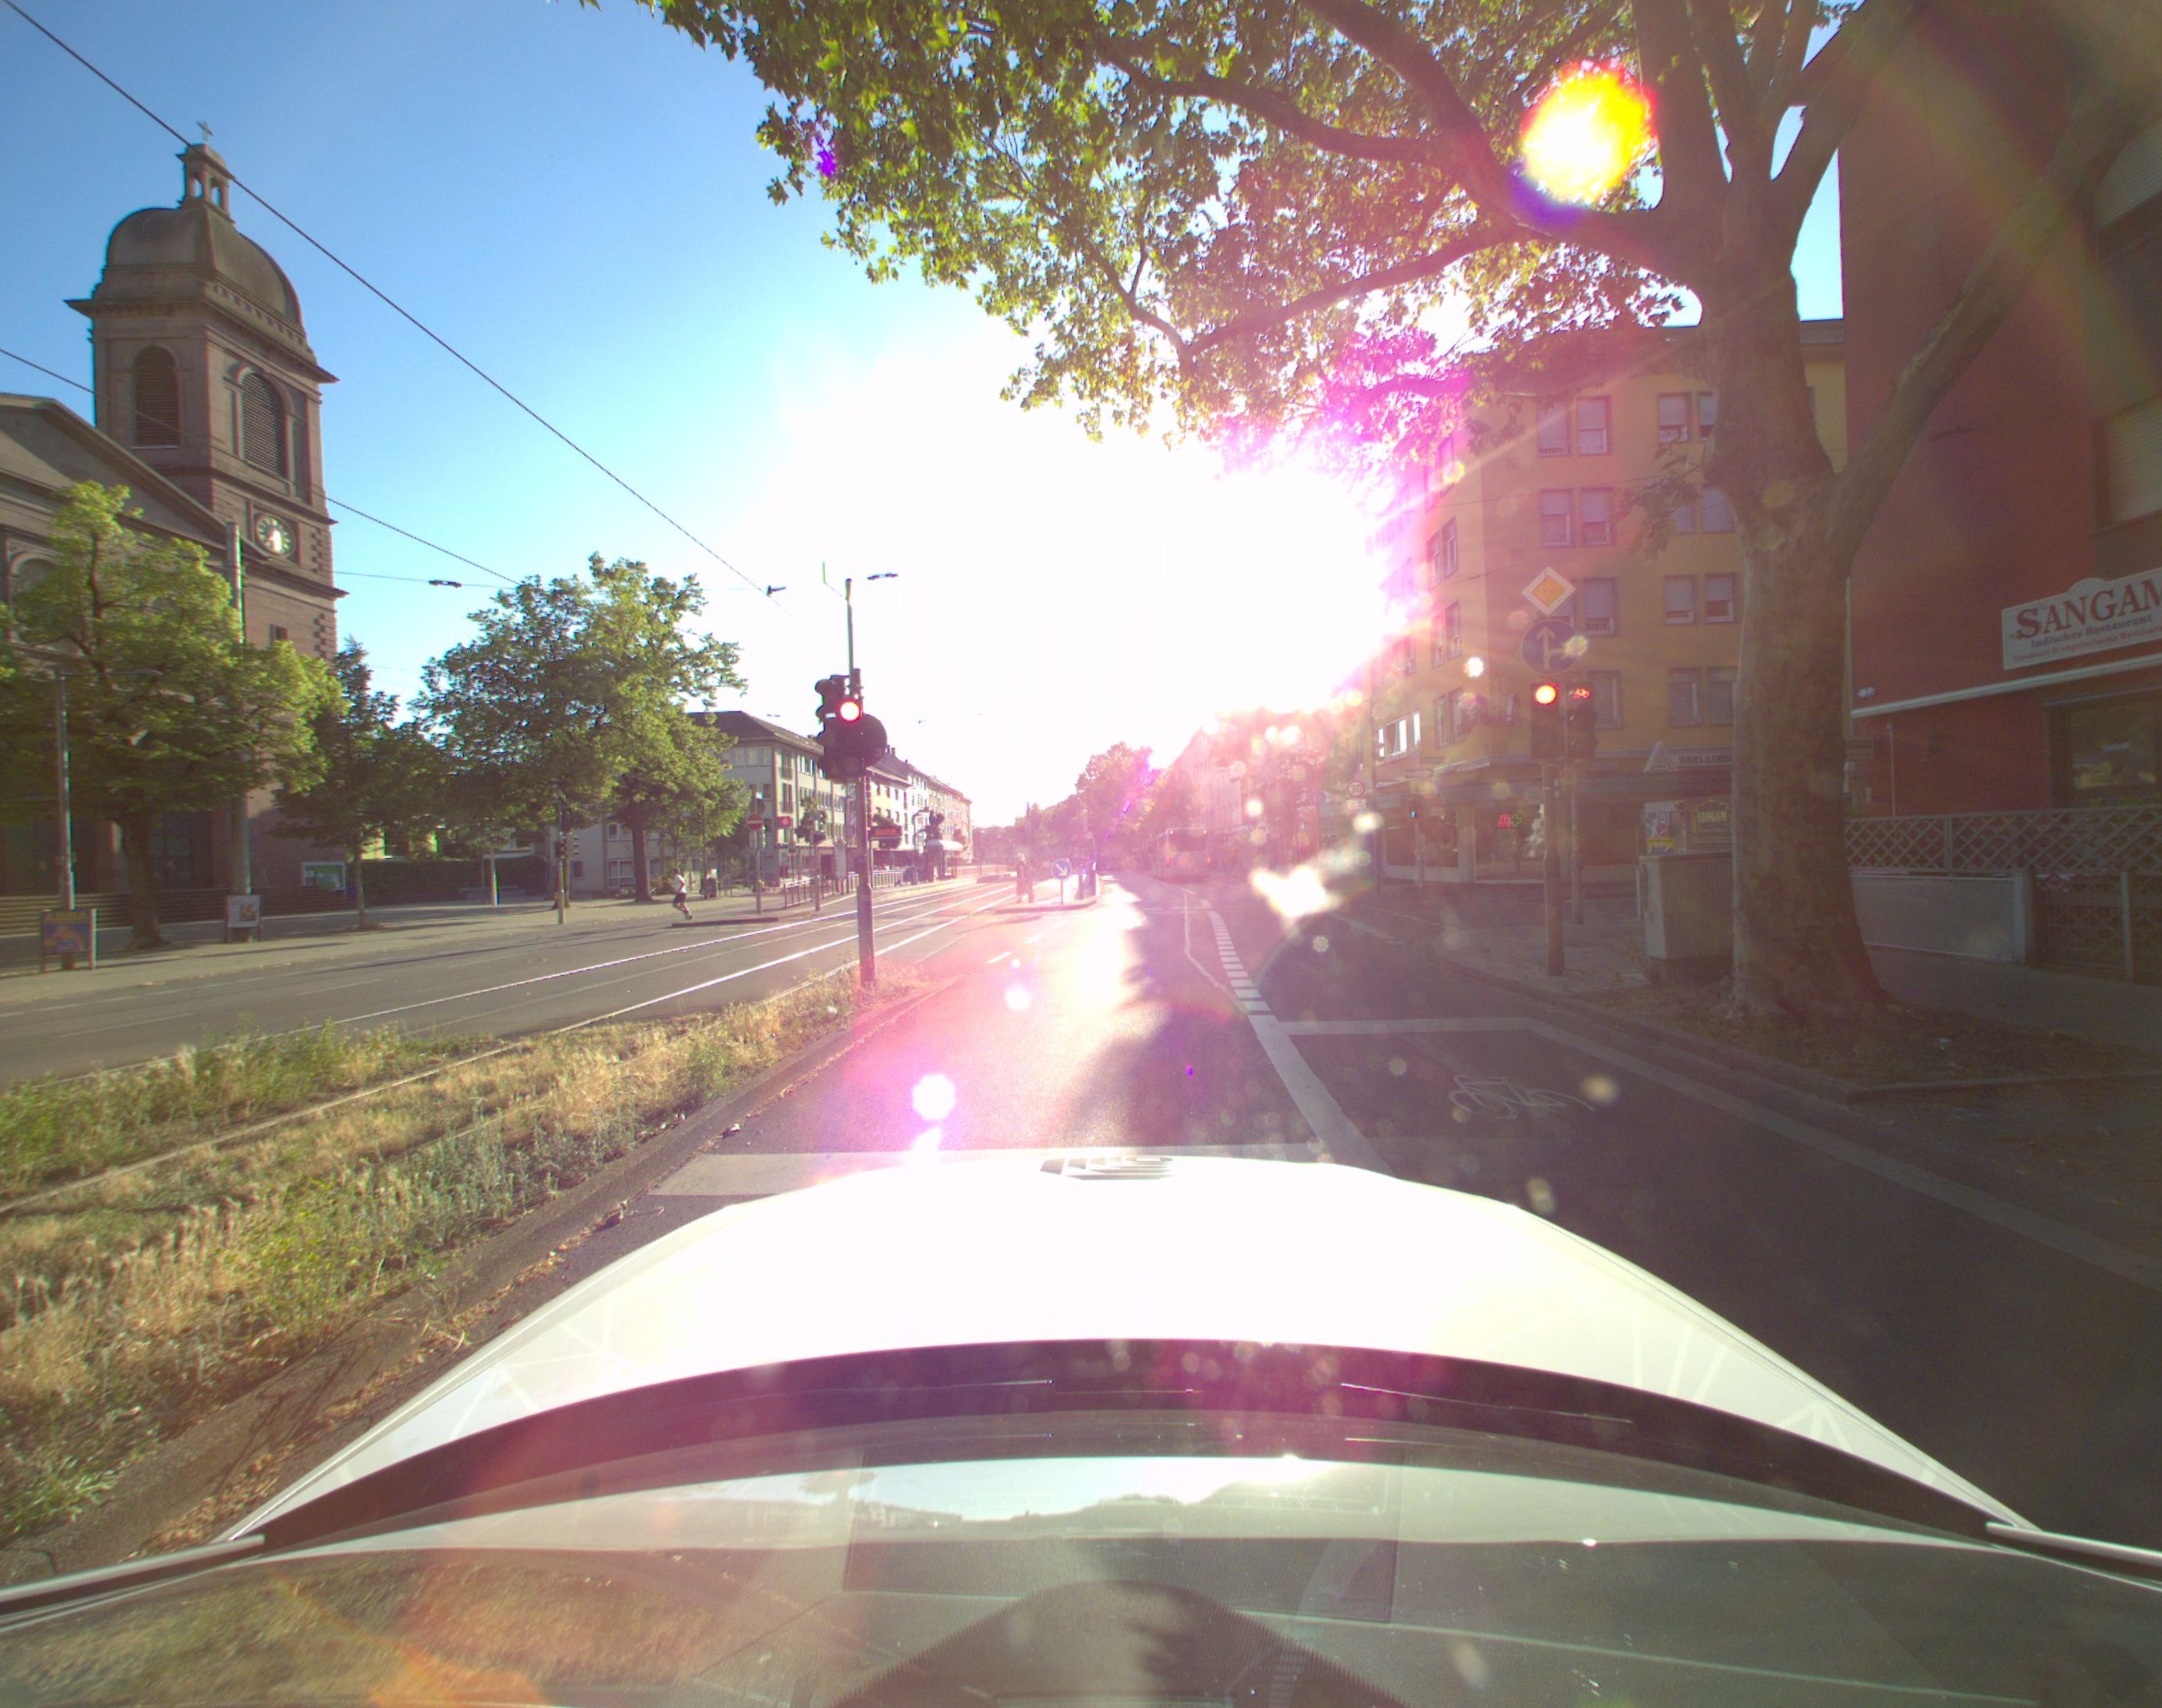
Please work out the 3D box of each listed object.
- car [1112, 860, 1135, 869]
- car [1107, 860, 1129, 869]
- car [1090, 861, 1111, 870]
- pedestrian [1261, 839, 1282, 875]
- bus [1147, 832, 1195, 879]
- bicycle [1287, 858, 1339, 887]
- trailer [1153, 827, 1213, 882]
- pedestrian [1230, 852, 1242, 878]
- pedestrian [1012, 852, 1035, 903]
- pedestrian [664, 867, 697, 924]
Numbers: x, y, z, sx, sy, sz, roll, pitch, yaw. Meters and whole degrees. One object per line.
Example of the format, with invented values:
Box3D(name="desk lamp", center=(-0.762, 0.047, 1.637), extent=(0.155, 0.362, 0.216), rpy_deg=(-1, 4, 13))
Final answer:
Box3D(name="car", center=(8.277, 2.052, 158.730), extent=(3.911, 1.699, 1.817), rpy_deg=(-2, 0, -27))
Box3D(name="car", center=(7.414, 2.052, 161.346), extent=(3.911, 1.699, 1.817), rpy_deg=(-2, 0, -27))
Box3D(name="car", center=(4.054, 2.311, 166.502), extent=(3.911, 1.596, 1.676), rpy_deg=(-2, 0, -27))
Box3D(name="pedestrian", center=(10.641, 0.180, 45.499), extent=(0.950, 2.014, 0.917), rpy_deg=(0, -1, 0))
Box3D(name="bus", center=(6.388, 0.118, 58.956), extent=(2.801, 3.101, 9.097), rpy_deg=(0, 0, 2))
Box3D(name="bicycle", center=(8.897, 0.703, 31.243), extent=(1.766, 1.021, 0.694), rpy_deg=(-4, -1, 1))
Box3D(name="trailer", center=(6.104, 0.056, 50.018), extent=(2.801, 3.110, 8.797), rpy_deg=(0, 0, 2))
Box3D(name="pedestrian", center=(9.840, 0.694, 51.762), extent=(0.674, 1.628, 0.656), rpy_deg=(0, -1, 2))
Box3D(name="pedestrian", center=(-2.057, 0.840, 29.271), extent=(0.677, 1.770, 0.687), rpy_deg=(-3, 0, 2))
Box3D(name="pedestrian", center=(-12.887, 1.332, 26.225), extent=(0.678, 1.770, 0.686), rpy_deg=(-2, 0, -2))
